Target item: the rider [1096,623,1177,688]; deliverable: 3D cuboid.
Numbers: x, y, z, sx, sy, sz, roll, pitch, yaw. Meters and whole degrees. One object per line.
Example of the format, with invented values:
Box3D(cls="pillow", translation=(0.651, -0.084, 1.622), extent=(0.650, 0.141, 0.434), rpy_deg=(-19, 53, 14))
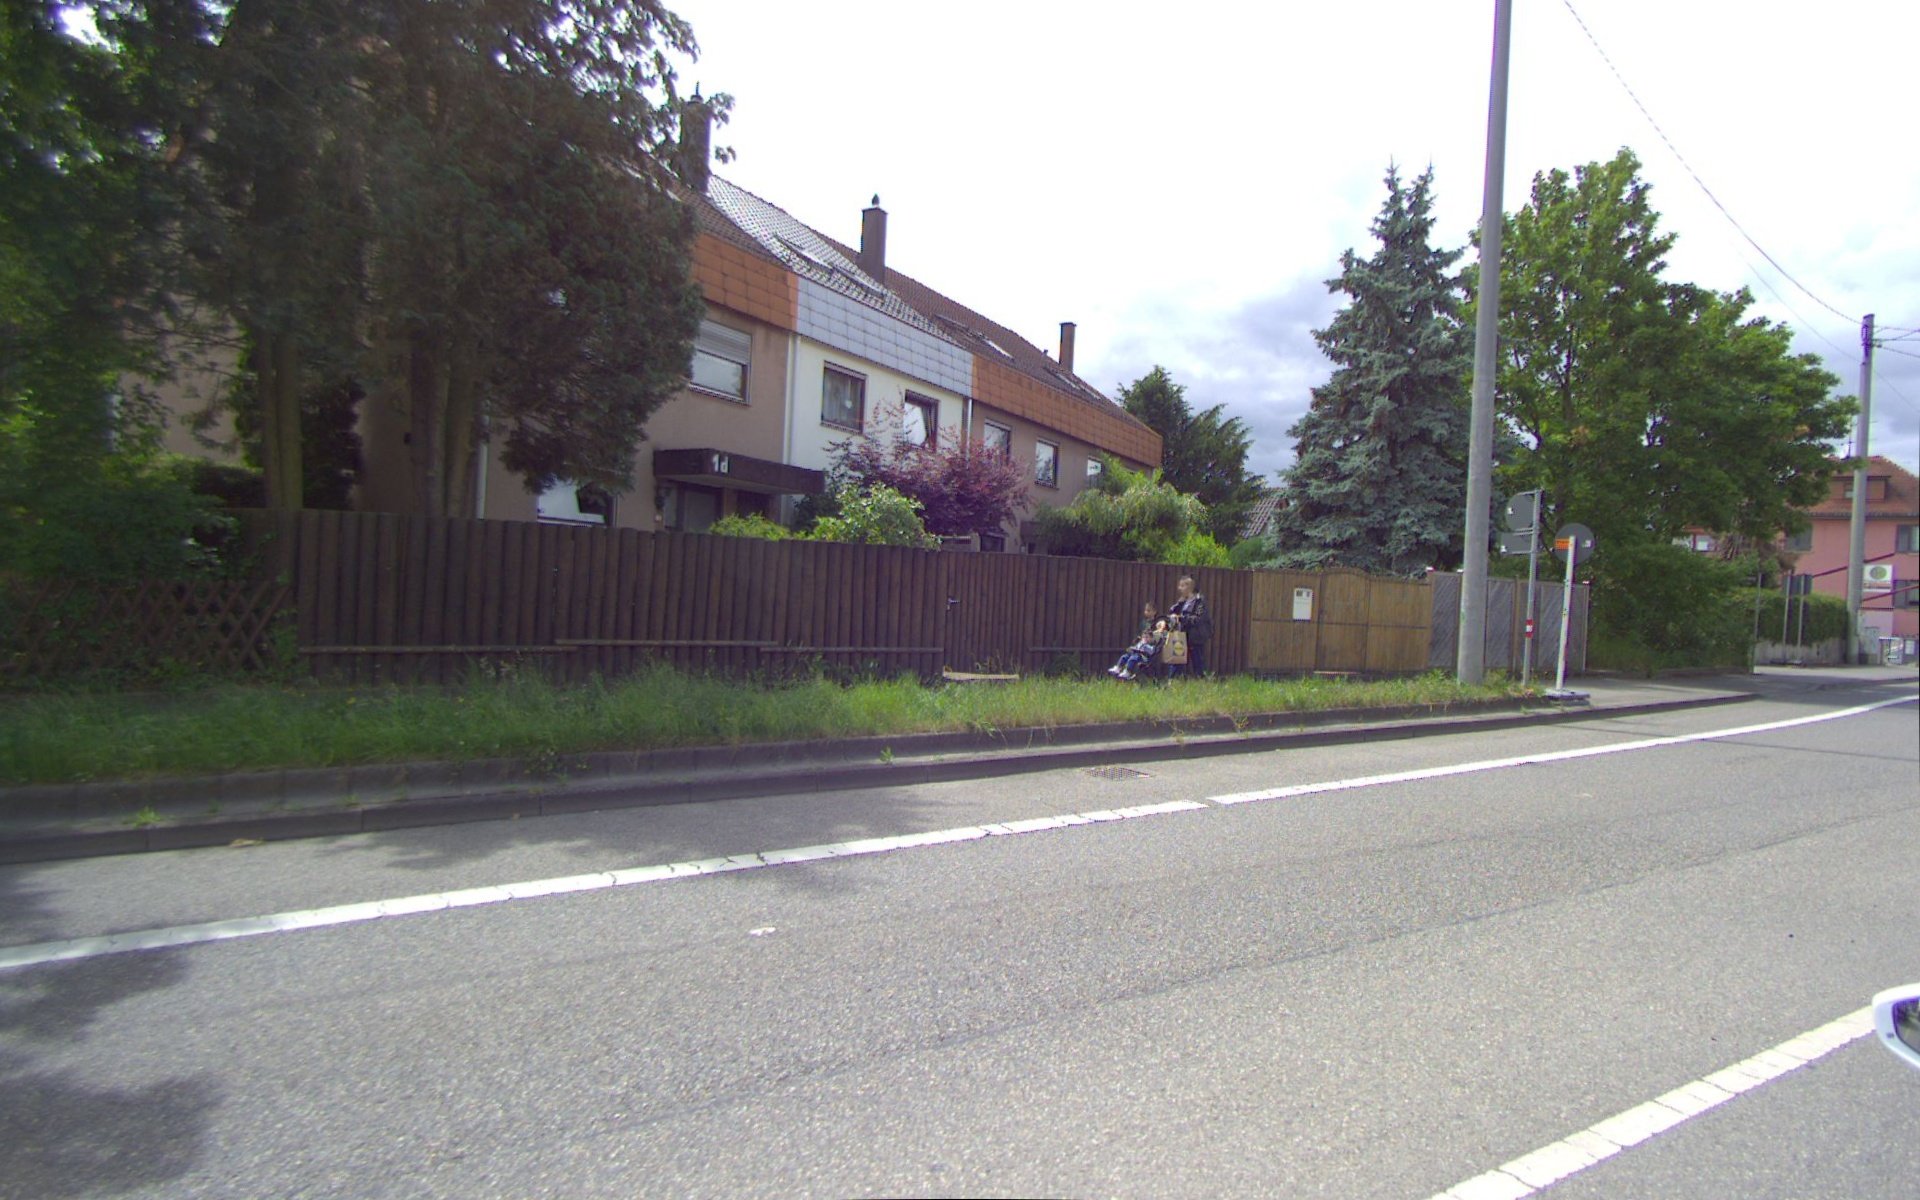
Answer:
Box3D(cls="rider", translation=(2.300, 0.721, 13.143), extent=(0.682, 0.744, 0.725), rpy_deg=(3, 3, -32))
